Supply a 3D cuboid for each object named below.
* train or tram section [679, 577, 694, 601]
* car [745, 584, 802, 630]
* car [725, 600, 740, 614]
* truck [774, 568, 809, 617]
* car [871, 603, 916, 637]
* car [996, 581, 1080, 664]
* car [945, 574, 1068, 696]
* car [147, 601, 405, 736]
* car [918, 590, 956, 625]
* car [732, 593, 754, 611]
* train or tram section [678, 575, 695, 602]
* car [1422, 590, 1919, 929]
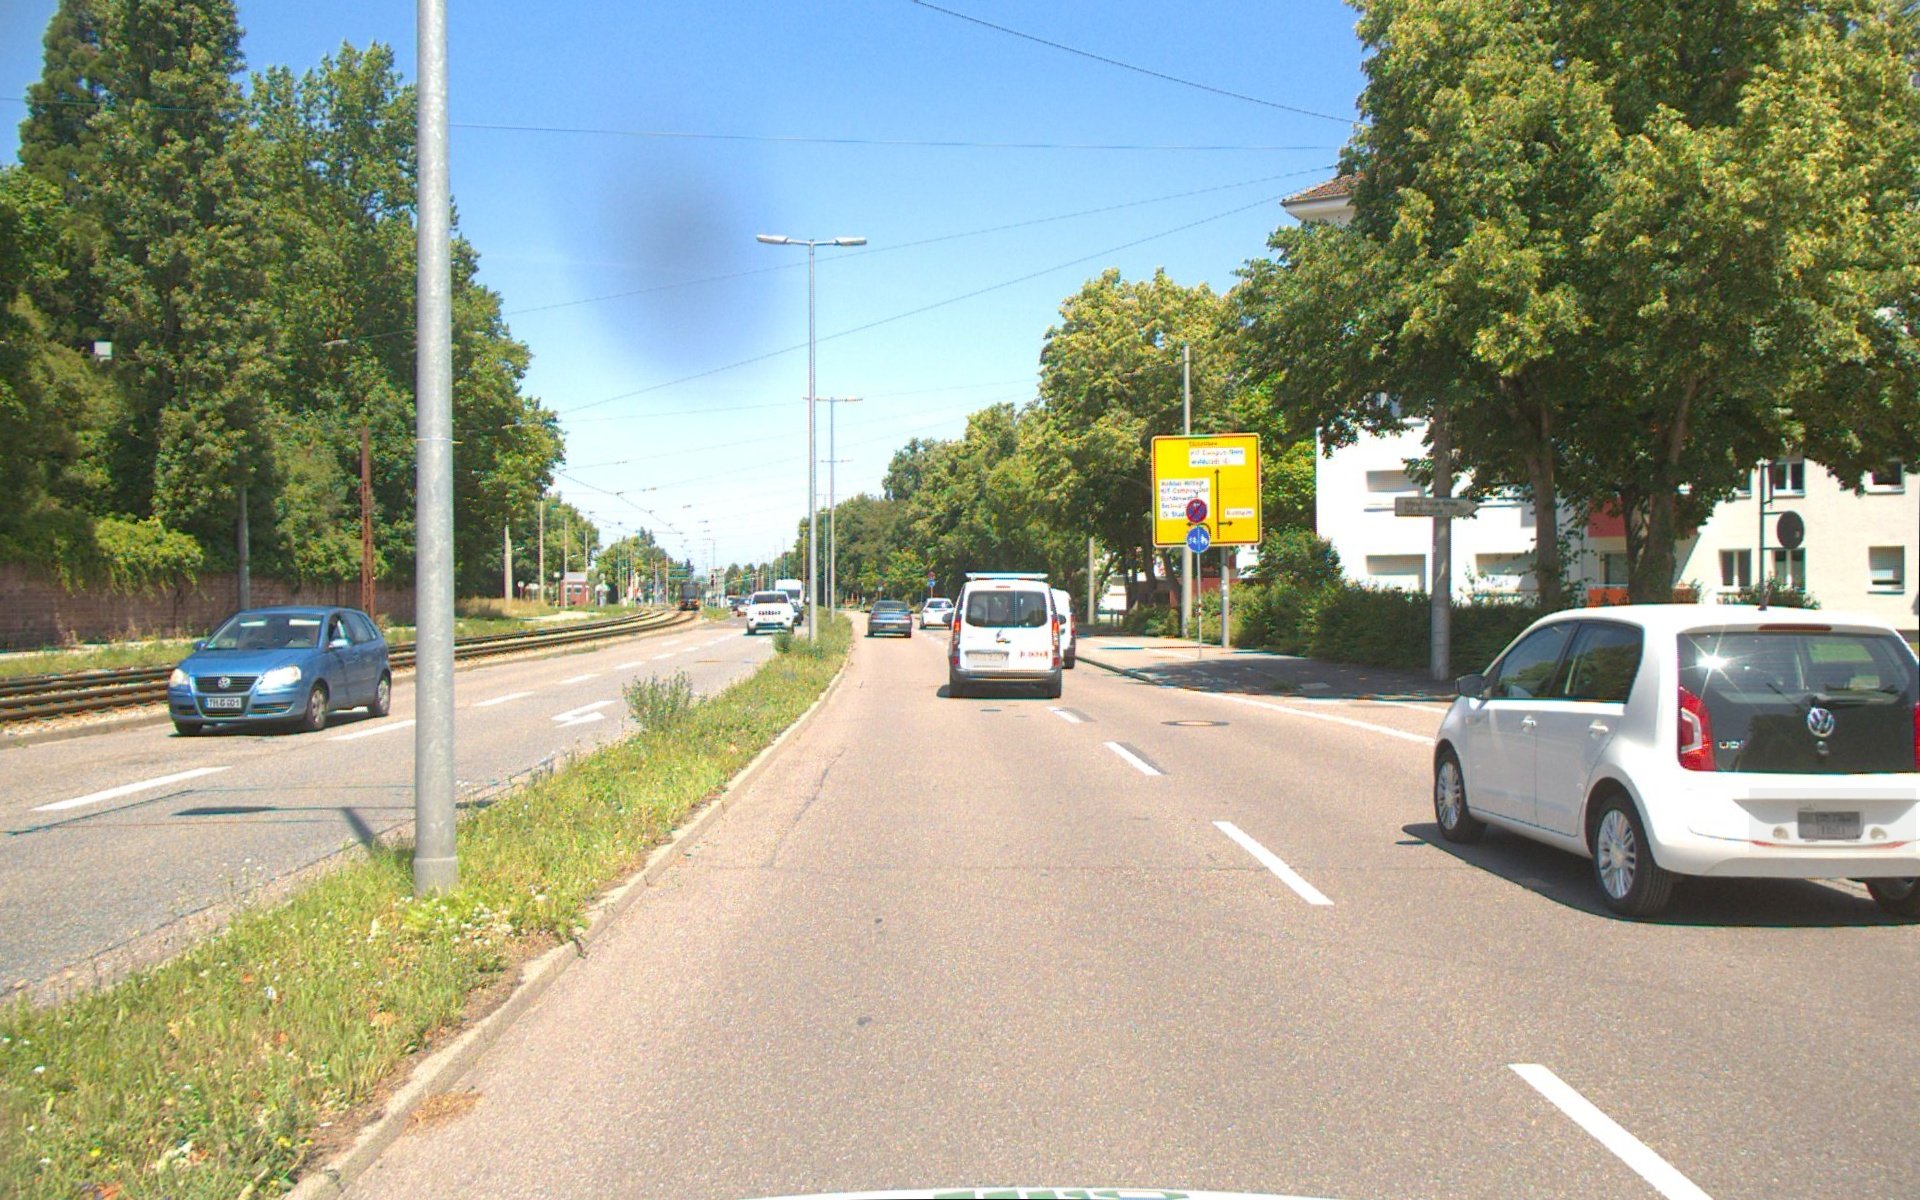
[{"bbox_3d":[-37.511,-1.424,226.808,1.957,3.140,19.455,1,0,-9],"label":"train or tram section"},{"bbox_3d":[-7.644,0.273,68.061,1.953,1.847,3.999,0,0,-1],"label":"car"},{"bbox_3d":[-28.288,0.871,205.662,1.713,1.594,3.995,1,0,-6],"label":"car"},{"bbox_3d":[-11.496,-0.517,113.228,1.953,3.270,5.310,0,0,-1],"label":"truck"},{"bbox_3d":[-2.555,0.751,64.002,1.658,1.237,3.588,1,0,-1],"label":"car"},{"bbox_3d":[1.797,0.505,39.213,1.692,1.819,4.063,1,0,-1],"label":"car"},{"bbox_3d":[0.678,0.500,26.633,1.784,1.770,4.396,1,0,0],"label":"car"},{"bbox_3d":[-8.297,0.759,20.450,1.663,1.464,3.998,-1,0,-3],"label":"car"},{"bbox_3d":[-1.129,0.346,82.182,1.797,1.596,4.000,1,1,0],"label":"car"},{"bbox_3d":[-19.178,0.168,146.425,1.713,1.594,3.995,1,0,-6],"label":"car"},{"bbox_3d":[-34.587,-1.418,209.258,1.957,3.140,16.130,1,0,-9],"label":"train or tram section"},{"bbox_3d":[3.922,0.715,9.143,1.577,1.472,3.433,1,1,-3],"label":"car"}]
